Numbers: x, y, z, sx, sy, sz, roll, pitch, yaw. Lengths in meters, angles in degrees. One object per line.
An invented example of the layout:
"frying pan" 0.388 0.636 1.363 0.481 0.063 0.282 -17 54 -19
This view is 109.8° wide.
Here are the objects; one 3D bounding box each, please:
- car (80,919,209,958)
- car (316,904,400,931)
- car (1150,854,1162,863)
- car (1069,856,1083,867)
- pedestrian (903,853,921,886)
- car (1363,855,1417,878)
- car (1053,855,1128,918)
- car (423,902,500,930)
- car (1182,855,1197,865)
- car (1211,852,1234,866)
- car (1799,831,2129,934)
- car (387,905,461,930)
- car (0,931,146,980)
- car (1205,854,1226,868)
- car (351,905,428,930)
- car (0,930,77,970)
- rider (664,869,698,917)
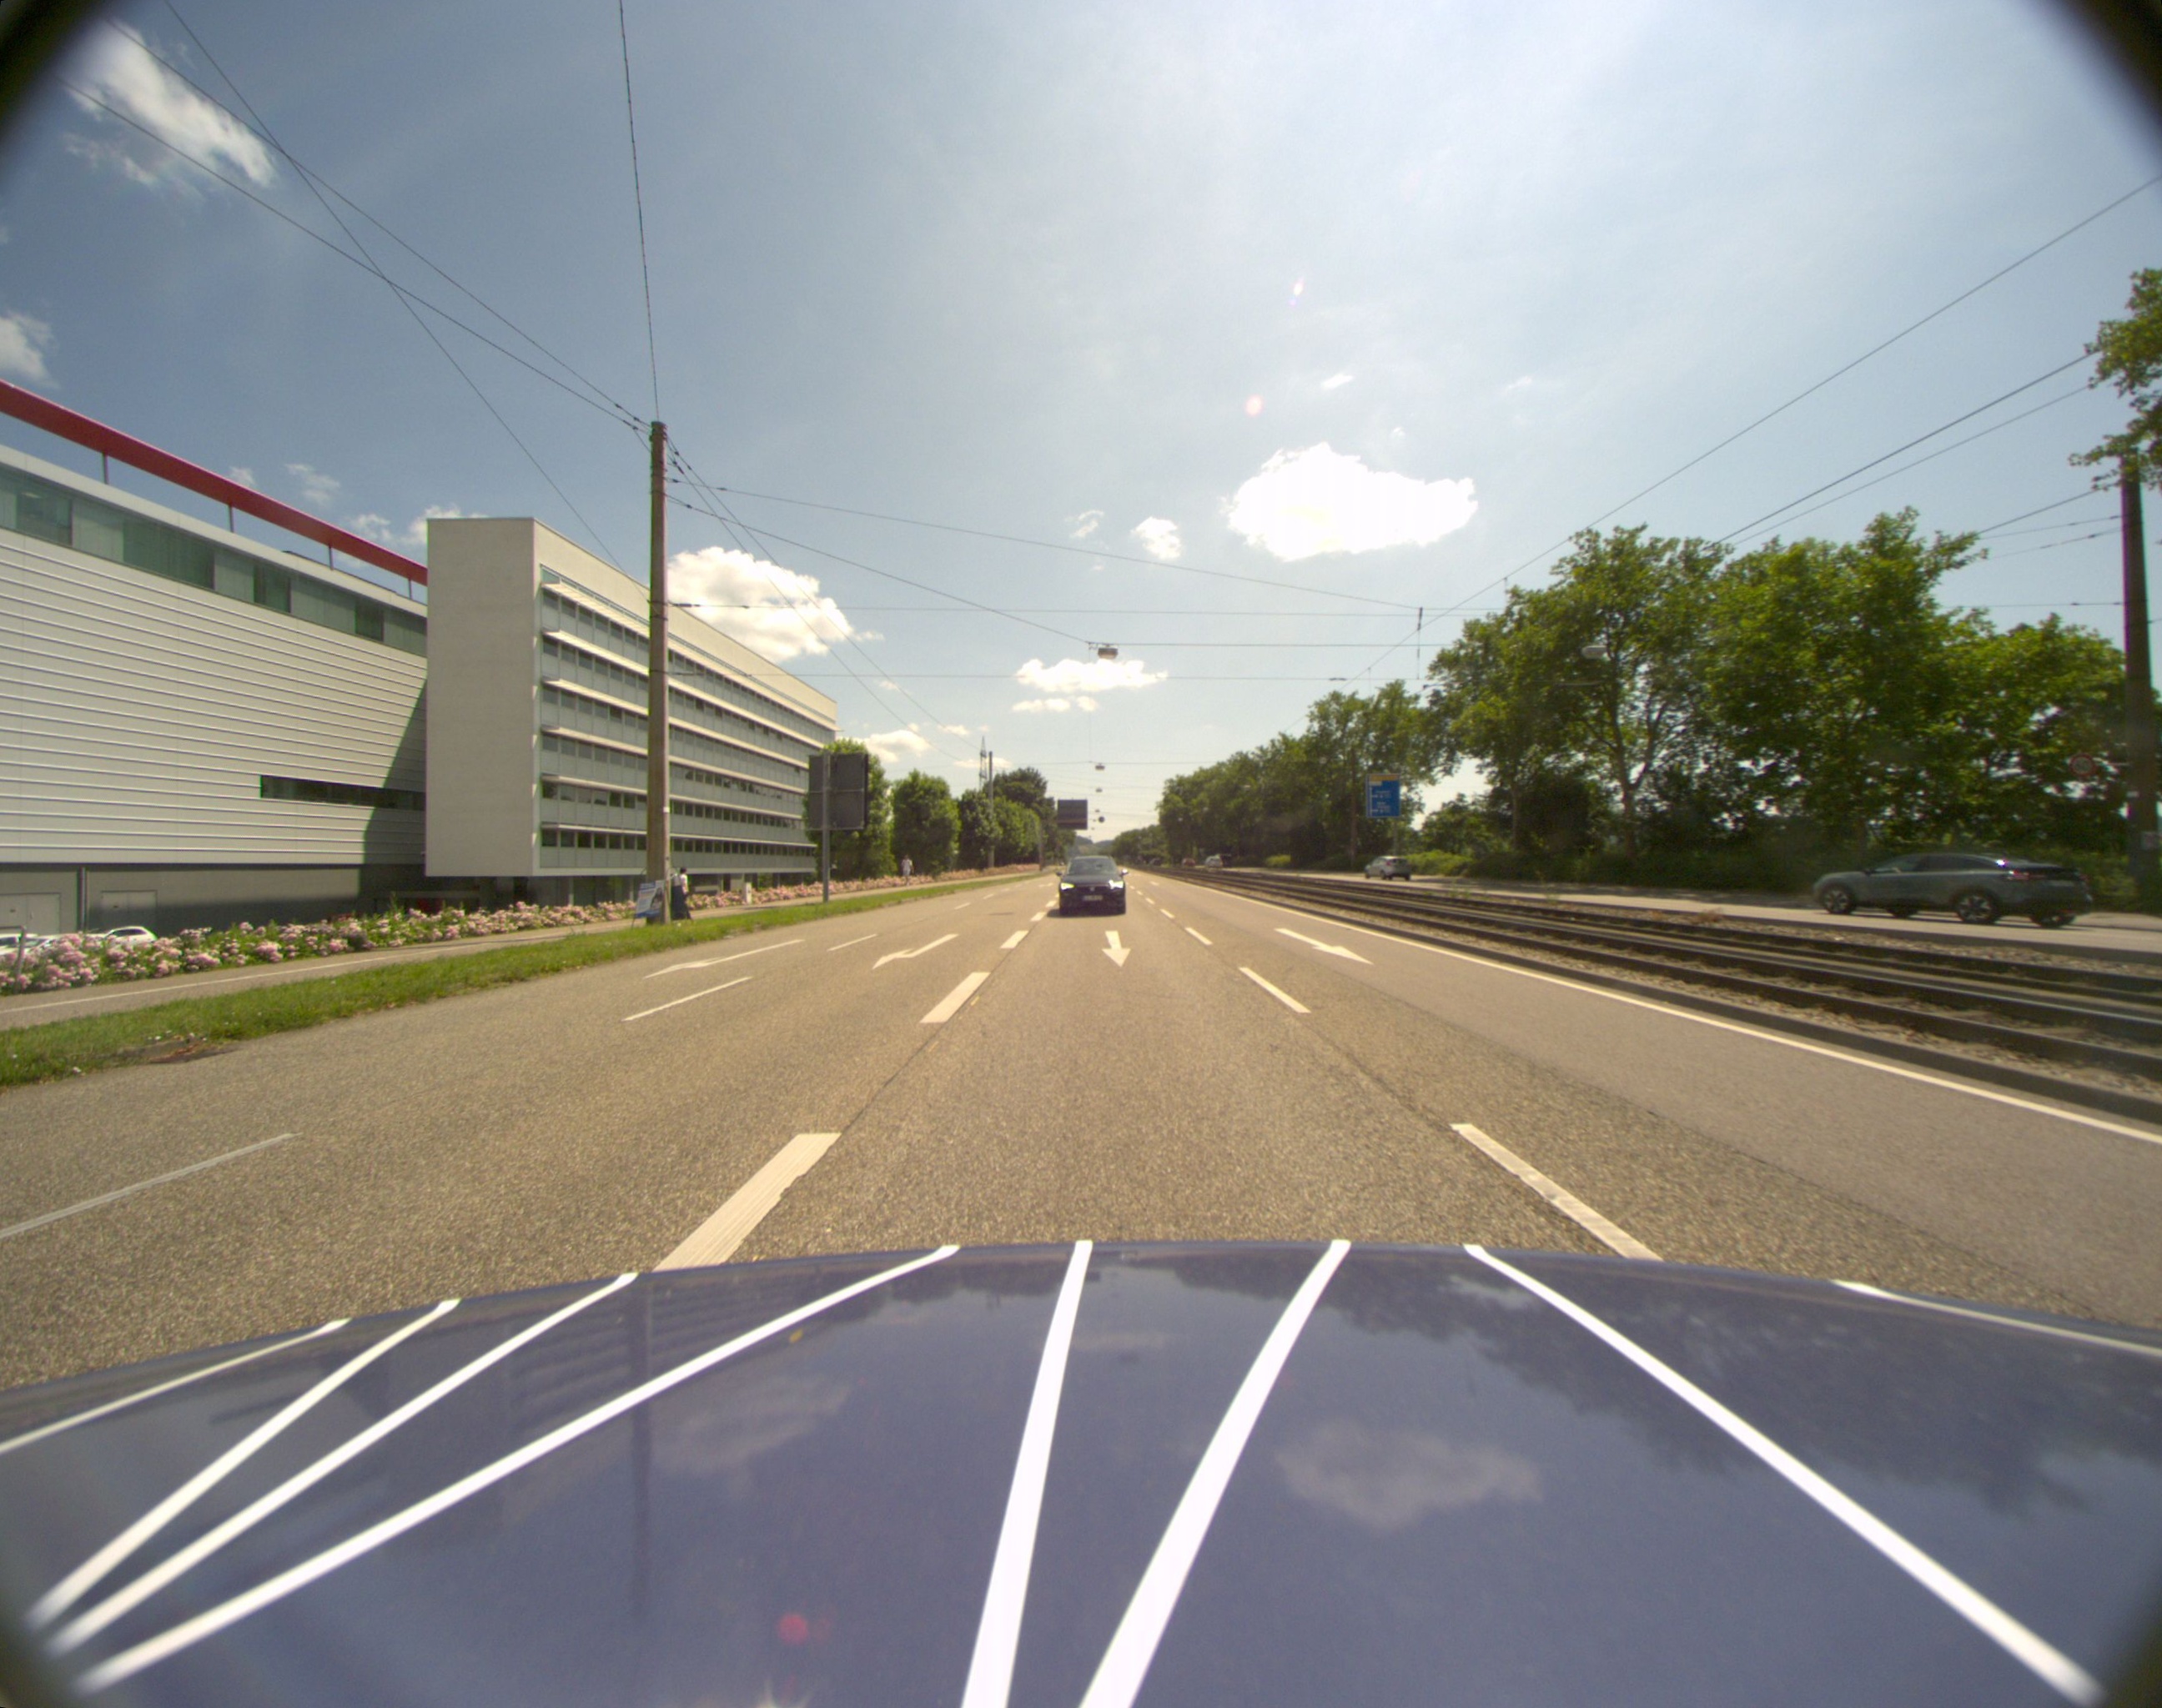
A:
"car" -51.098 4.594 41.603 1.998 1.602 4.000 -2 0 1
"car" -50.396 4.407 53.083 1.998 1.438 4.000 -2 0 1
"car" 16.627 0.959 168.343 1.999 1.820 4.969 1 0 -1
"car" -0.667 1.047 104.380 1.896 1.331 4.000 -2 0 1
"pedestrian" -9.864 0.890 44.326 0.758 1.838 0.931 -2 1 3
"car" 19.177 0.749 47.333 1.827 1.407 3.883 0 0 0
"car" 0.275 0.852 21.990 1.898 1.564 4.511 -1 0 1
"car" -43.071 4.295 52.977 1.998 1.602 4.000 -2 0 1
"car" 18.851 0.979 132.213 1.999 1.660 4.467 1 0 -1
"car" 18.554 0.663 99.616 1.999 1.820 4.969 1 0 -1
"car" 19.176 0.529 16.912 1.999 1.907 4.408 3 1 -3
"car" -45.588 4.380 52.851 1.609 1.314 4.000 -2 0 1
"car" -48.649 4.783 36.080 1.998 1.602 5.146 -2 0 1
"car" 15.911 0.759 89.993 1.690 1.574 4.058 2 0 -1
"car" -48.030 4.387 52.891 1.648 1.377 4.000 -2 0 1
"car" -51.321 4.620 36.040 1.998 1.602 4.000 -2 0 1
"rider" -12.486 1.194 23.716 0.671 1.449 0.618 -2 1 1
